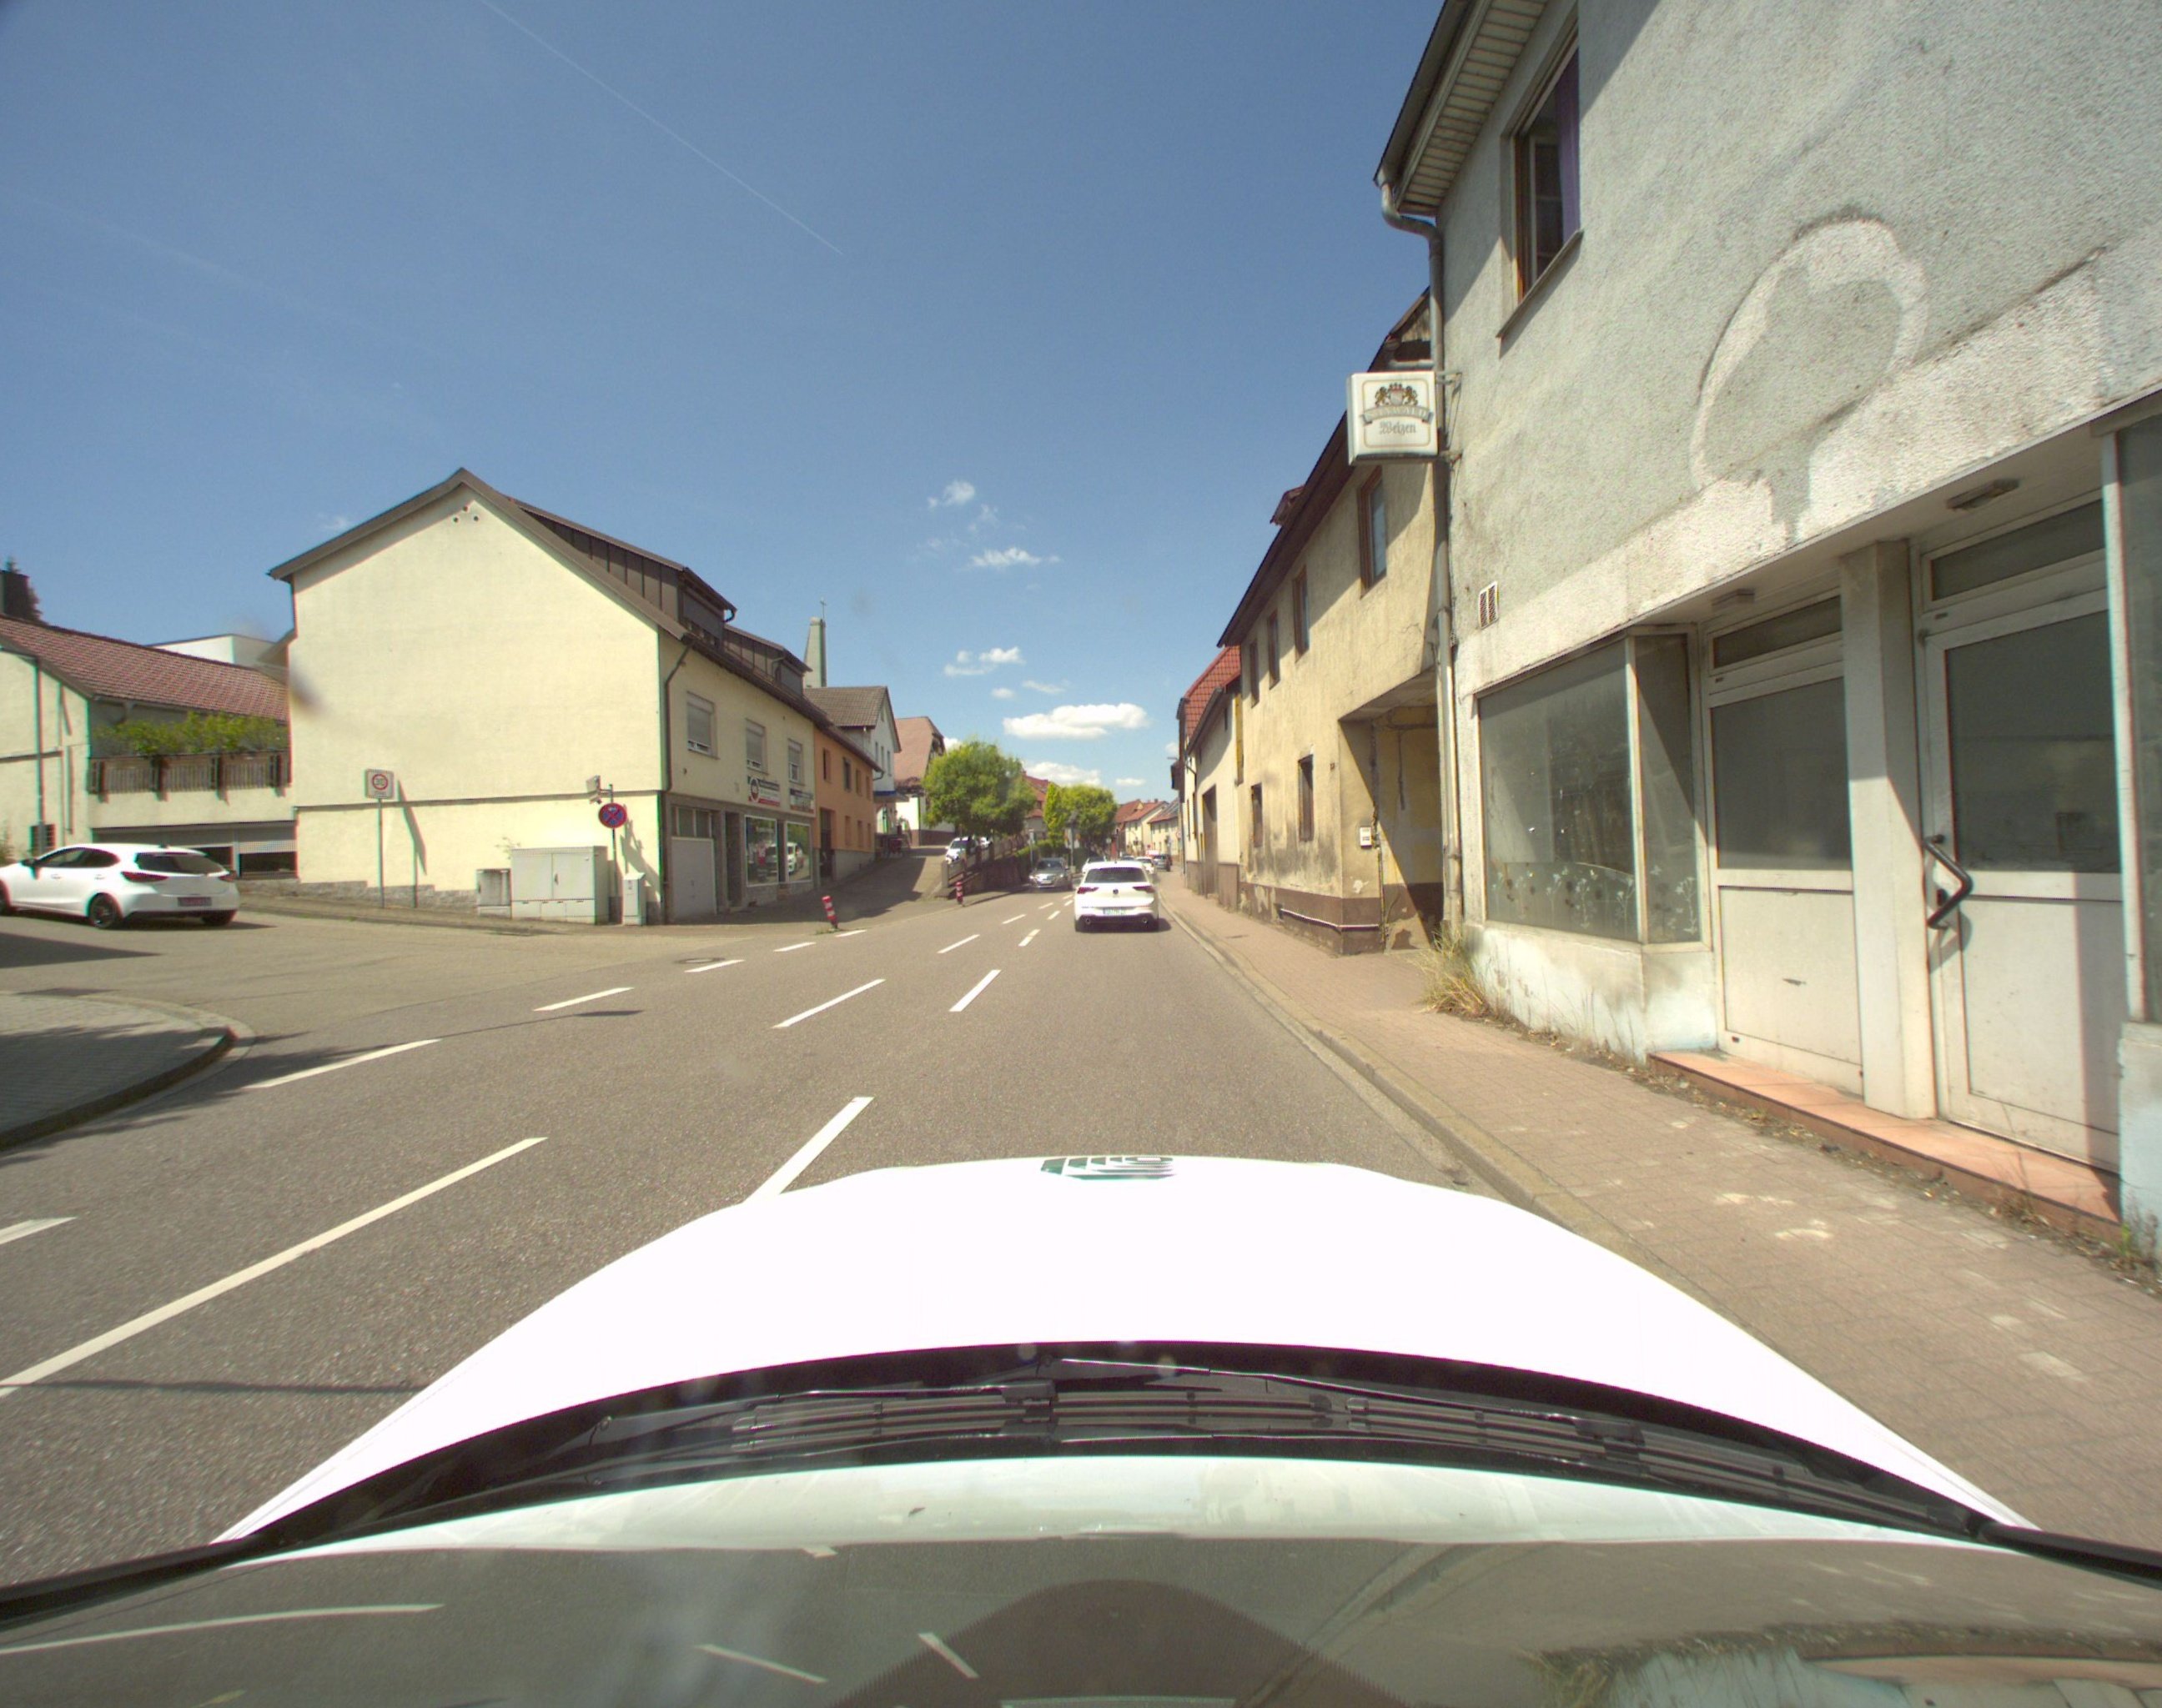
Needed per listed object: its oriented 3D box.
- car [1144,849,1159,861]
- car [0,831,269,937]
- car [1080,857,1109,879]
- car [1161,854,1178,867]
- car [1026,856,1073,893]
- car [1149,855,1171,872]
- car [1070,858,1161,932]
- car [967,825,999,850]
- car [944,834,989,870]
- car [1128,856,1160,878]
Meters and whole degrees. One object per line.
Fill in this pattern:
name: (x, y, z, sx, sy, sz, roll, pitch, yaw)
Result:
car: (10.156, 0.131, 117.491, 1.770, 1.765, 3.999, -2, 0, 0)
car: (-17.947, 0.489, 15.249, 3.964, 1.467, 1.819, 6, 2, 9)
car: (1.078, 1.045, 63.096, 1.834, 1.580, 4.451, -3, 0, 5)
car: (11.079, 0.757, 101.854, 1.769, 1.538, 4.002, -2, 0, 2)
car: (-1.467, 0.937, 39.737, 1.750, 1.635, 4.054, -3, 0, 4)
car: (7.462, 0.875, 77.152, 1.769, 1.538, 4.000, -2, 0, 1)
car: (0.821, 0.820, 18.189, 1.800, 1.467, 4.004, 0, 0, 4)
car: (-6.672, -1.183, 55.888, 1.571, 1.361, 3.859, -2, 6, 2)
car: (-6.146, -0.133, 44.121, 1.687, 1.542, 3.859, -2, 6, 2)
car: (4.616, 0.921, 58.983, 1.796, 1.467, 4.013, 0, 0, 12)
